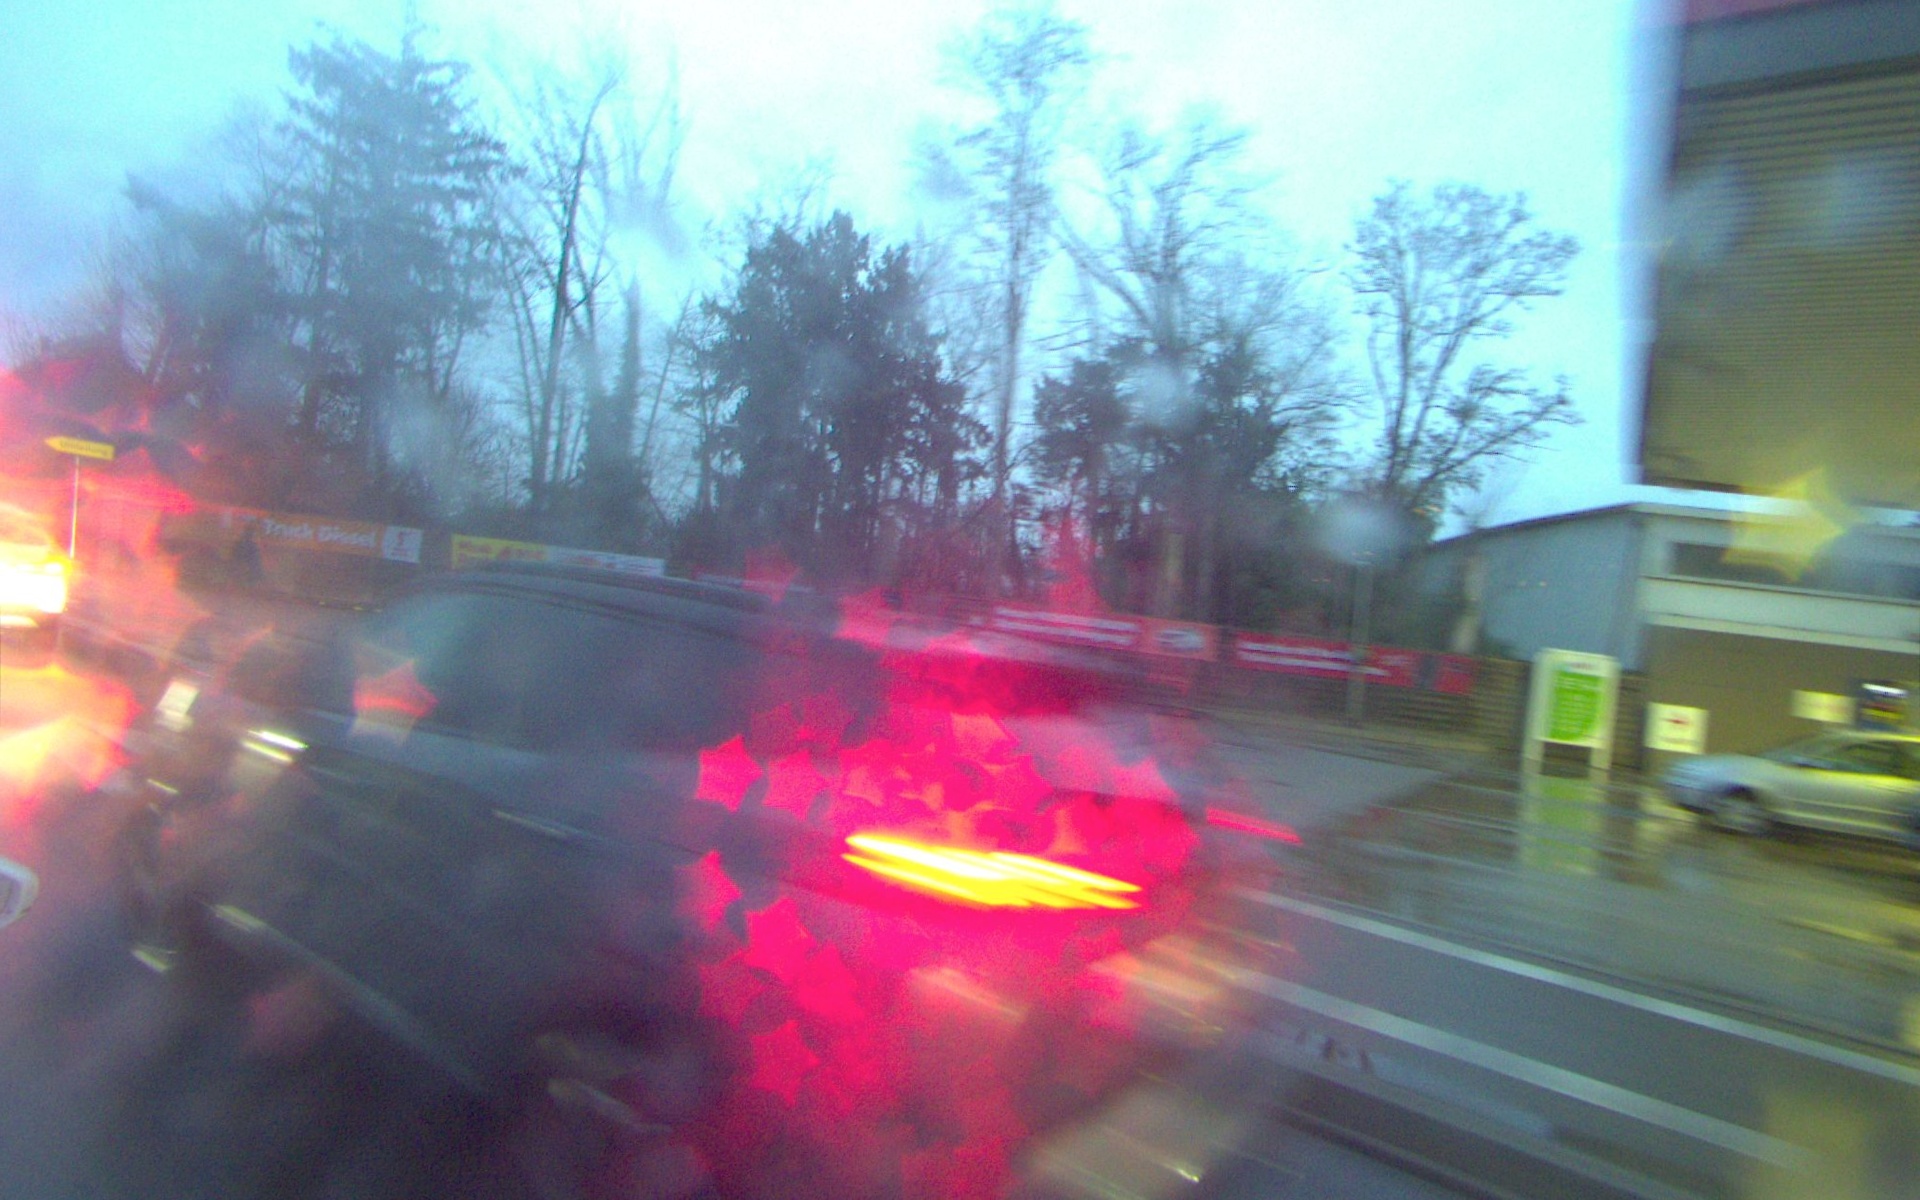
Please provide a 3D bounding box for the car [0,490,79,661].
[{"bbox_3d":[-11.013,-0.454,10.545,4.396,1.595,1.708,6,0,37],"label":"car"}]

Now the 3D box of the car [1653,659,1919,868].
[{"bbox_3d":[10.941,2.005,12.244,3.938,2.038,1.994,6,-1,36],"label":"car"}]

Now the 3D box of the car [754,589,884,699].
[{"bbox_3d":[-2.620,0.746,18.992,1.985,1.627,4.478,7,-1,-7],"label":"car"}]

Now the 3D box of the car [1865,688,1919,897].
[{"bbox_3d":[11.013,2.005,8.803,4.232,1.883,1.993,6,1,36],"label":"car"}]

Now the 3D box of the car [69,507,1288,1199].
[{"bbox_3d":[-1.238,0.657,3.233,3.945,1.547,1.565,6,-1,37],"label":"car"}]
